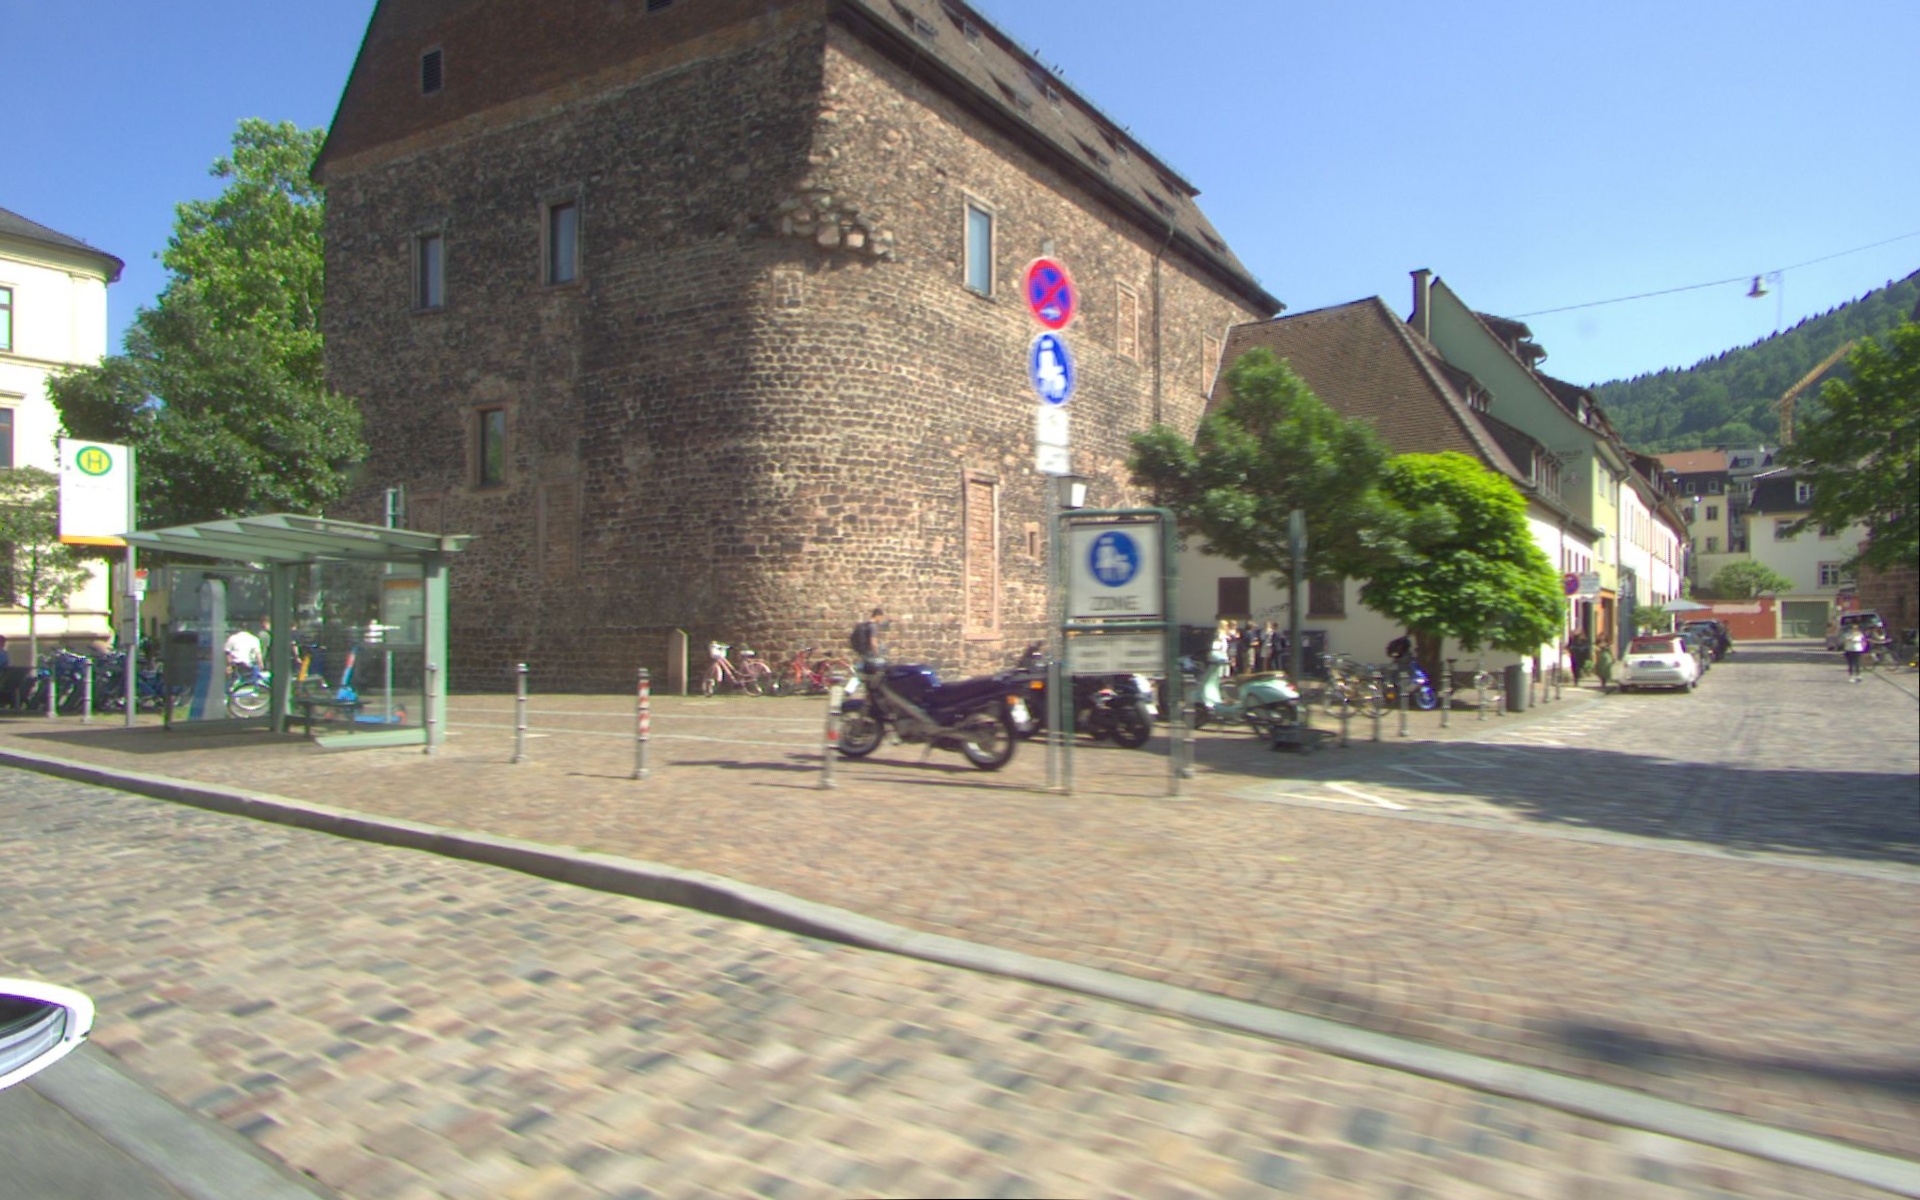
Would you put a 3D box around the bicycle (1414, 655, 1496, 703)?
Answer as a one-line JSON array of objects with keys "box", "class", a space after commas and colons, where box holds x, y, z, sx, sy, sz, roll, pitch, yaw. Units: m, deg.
[{"box": [11.670, 1.848, 23.638, 1.687, 1.027, 0.421, 1, 0, 27], "class": "bicycle"}]

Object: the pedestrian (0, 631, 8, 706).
[{"box": [-17.220, 1.188, 17.295, 0.683, 1.298, 0.959, -1, -2, 31], "class": "pedestrian"}]

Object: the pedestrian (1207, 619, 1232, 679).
[{"box": [7.392, 1.390, 28.496, 0.525, 1.688, 0.580, -1, -1, 32], "class": "pedestrian"}]

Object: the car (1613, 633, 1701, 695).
[{"box": [19.743, 1.762, 28.301, 1.778, 1.549, 4.114, -3, -2, 38], "class": "car"}]

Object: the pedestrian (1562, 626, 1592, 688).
[{"box": [17.969, 1.637, 29.158, 0.665, 1.763, 0.657, 0, -1, 37], "class": "pedestrian"}]

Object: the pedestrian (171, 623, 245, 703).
[{"box": [-17.166, 1.424, 22.890, 0.910, 1.787, 0.989, 0, -1, 13], "class": "pedestrian"}]

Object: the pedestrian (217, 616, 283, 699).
[{"box": [-15.637, 1.255, 22.075, 0.893, 1.776, 0.804, -1, -1, 19], "class": "pedestrian"}]

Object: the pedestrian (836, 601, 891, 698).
[{"box": [-1.909, 0.975, 19.831, 0.750, 1.869, 0.794, -1, -1, 32], "class": "pedestrian"}]

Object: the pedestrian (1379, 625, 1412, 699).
[{"box": [10.678, 1.505, 24.551, 0.598, 1.763, 0.657, 0, -1, 37], "class": "pedestrian"}]

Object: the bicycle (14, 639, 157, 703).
[{"box": [-17.769, 1.435, 20.413, 0.599, 1.213, 2.077, 0, -3, 31], "class": "bicycle"}]

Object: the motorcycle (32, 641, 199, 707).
[{"box": [-15.431, 1.337, 18.372, 0.765, 1.117, 2.202, 0, -3, 31], "class": "motorcycle"}]

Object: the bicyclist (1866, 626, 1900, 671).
[{"box": [32.478, 1.692, 35.244, 0.636, 1.564, 0.632, 0, 0, -15], "class": "bicyclist"}]

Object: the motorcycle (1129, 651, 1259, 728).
[{"box": [3.680, 1.384, 15.803, 1.899, 1.095, 0.629, 0, -1, 29], "class": "motorcycle"}]

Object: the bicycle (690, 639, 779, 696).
[{"box": [-4.778, 1.408, 21.220, 1.895, 1.175, 0.525, -1, -1, 24], "class": "bicycle"}]

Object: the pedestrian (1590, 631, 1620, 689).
[{"box": [18.518, 1.714, 28.753, 0.665, 1.650, 0.657, 0, -1, 37], "class": "pedestrian"}]

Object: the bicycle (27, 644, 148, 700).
[{"box": [-18.207, 1.492, 20.940, 0.599, 1.124, 1.791, 0, -2, 31], "class": "bicycle"}]

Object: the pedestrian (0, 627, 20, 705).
[{"box": [-16.736, 1.115, 16.803, 0.683, 1.324, 1.246, -1, -2, 30], "class": "pedestrian"}]

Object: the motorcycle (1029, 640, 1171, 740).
[{"box": [1.879, 1.180, 13.563, 1.782, 1.247, 0.668, 0, -2, 35], "class": "motorcycle"}]

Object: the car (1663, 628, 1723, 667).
[{"box": [29.354, 1.870, 40.071, 1.778, 1.423, 4.114, -3, -2, 38], "class": "car"}]

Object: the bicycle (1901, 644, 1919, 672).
[{"box": [33.660, 2.021, 34.996, 0.581, 0.934, 1.608, 0, -1, 22], "class": "bicycle"}]

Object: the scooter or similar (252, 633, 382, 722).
[{"box": [-9.375, 1.125, 14.645, 0.643, 1.230, 1.429, -1, -4, 32], "class": "scooter or similar"}]

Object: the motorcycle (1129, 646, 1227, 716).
[{"box": [3.906, 1.410, 17.817, 0.866, 1.161, 2.331, -1, -3, 35], "class": "motorcycle"}]

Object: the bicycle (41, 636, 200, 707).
[{"box": [-15.398, 1.292, 18.427, 0.765, 1.213, 2.078, 0, -3, 31], "class": "bicycle"}]

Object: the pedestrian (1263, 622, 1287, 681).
[{"box": [8.883, 1.442, 28.231, 0.580, 1.664, 0.420, 0, -1, 32], "class": "pedestrian"}]

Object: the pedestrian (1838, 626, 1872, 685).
[{"box": [27.199, 1.662, 30.445, 0.702, 1.763, 0.657, 0, -1, 37], "class": "pedestrian"}]

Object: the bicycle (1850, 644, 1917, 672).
[{"box": [32.487, 2.033, 35.253, 0.660, 0.934, 1.610, 0, -1, -16], "class": "bicycle"}]

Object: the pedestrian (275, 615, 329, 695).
[{"box": [-16.352, 1.358, 24.896, 0.775, 1.966, 0.805, 0, -1, 6], "class": "pedestrian"}]

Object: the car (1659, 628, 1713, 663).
[{"box": [32.588, 2.032, 44.931, 1.778, 1.423, 4.114, -3, -2, 38], "class": "car"}]

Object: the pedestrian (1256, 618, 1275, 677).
[{"box": [8.831, 1.374, 28.965, 0.445, 1.688, 0.358, -1, -1, 32], "class": "pedestrian"}]

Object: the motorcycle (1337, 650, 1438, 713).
[{"box": [8.938, 1.679, 20.942, 1.887, 1.175, 0.597, 1, 0, 27], "class": "motorcycle"}]

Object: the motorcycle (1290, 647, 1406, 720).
[{"box": [7.076, 1.497, 18.379, 0.591, 1.252, 2.035, 1, -2, -32], "class": "motorcycle"}]

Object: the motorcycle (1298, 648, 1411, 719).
[{"box": [7.436, 1.539, 18.976, 0.591, 1.252, 2.036, 1, -2, -31], "class": "motorcycle"}]

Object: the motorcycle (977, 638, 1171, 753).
[{"box": [1.318, 1.078, 11.789, 2.183, 1.252, 0.657, -1, -2, 29], "class": "motorcycle"}]

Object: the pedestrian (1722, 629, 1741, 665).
[{"box": [38.093, 2.323, 49.422, 0.655, 1.763, 0.705, 0, -1, 44], "class": "pedestrian"}]

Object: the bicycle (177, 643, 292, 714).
[{"box": [-13.138, 1.395, 18.164, 0.716, 1.213, 1.542, -1, -2, 38], "class": "bicycle"}]

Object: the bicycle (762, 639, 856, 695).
[{"box": [-3.167, 1.400, 21.097, 1.889, 1.167, 0.548, 0, -1, 2], "class": "bicycle"}]

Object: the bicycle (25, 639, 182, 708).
[{"box": [-16.054, 1.360, 18.836, 0.765, 1.213, 2.078, 0, -3, 31], "class": "bicycle"}]

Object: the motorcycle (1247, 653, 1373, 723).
[{"box": [6.189, 1.537, 17.765, 1.993, 1.158, 0.739, -2, -4, 36], "class": "motorcycle"}]

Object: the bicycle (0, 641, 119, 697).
[{"box": [-19.219, 1.467, 21.417, 0.555, 1.124, 1.791, 0, -2, 31], "class": "bicycle"}]

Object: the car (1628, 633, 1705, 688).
[{"box": [22.480, 1.885, 31.806, 1.778, 1.549, 4.114, -3, -2, 38], "class": "car"}]

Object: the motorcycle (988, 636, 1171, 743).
[{"box": [1.489, 1.093, 12.733, 2.241, 1.252, 0.737, -2, -2, 35], "class": "motorcycle"}]

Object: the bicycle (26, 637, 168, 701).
[{"box": [-17.265, 1.371, 20.100, 0.519, 1.213, 2.078, 0, -2, 31], "class": "bicycle"}]

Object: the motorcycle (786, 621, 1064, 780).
[{"box": [-0.357, 0.878, 9.406, 2.489, 1.309, 0.883, 0, -2, 29], "class": "motorcycle"}]

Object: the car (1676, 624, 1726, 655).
[{"box": [37.945, 2.003, 51.231, 1.779, 1.423, 4.111, -3, -2, 40], "class": "car"}]

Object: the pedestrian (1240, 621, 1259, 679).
[{"box": [8.441, 1.462, 29.236, 0.445, 1.688, 0.358, -1, -1, 32], "class": "pedestrian"}]

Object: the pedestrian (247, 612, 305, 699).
[{"box": [-15.852, 1.281, 23.209, 0.923, 1.985, 0.655, 0, -1, 15], "class": "pedestrian"}]

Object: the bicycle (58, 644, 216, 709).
[{"box": [-14.730, 1.347, 17.977, 0.789, 1.079, 2.022, 0, -3, 31], "class": "bicycle"}]

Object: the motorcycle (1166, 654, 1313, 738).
[{"box": [4.002, 1.338, 14.362, 1.876, 1.108, 0.874, -1, -2, 29], "class": "motorcycle"}]

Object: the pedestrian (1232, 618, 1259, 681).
[{"box": [7.770, 1.351, 27.274, 0.574, 1.688, 0.530, -1, -1, 32], "class": "pedestrian"}]

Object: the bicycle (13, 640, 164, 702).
[{"box": [-16.659, 1.347, 19.207, 0.595, 1.099, 2.078, 0, -3, 31], "class": "bicycle"}]

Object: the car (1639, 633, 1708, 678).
[{"box": [25.662, 1.965, 35.964, 1.778, 1.423, 4.114, -3, -2, 38], "class": "car"}]

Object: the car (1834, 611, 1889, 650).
[{"box": [46.880, 1.631, 52.143, 1.778, 1.899, 4.243, -3, -5, 38], "class": "car"}]

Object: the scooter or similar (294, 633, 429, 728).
[{"box": [-8.205, 1.098, 13.774, 0.643, 1.230, 1.429, -1, -4, 32], "class": "scooter or similar"}]

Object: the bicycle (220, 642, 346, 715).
[{"box": [-10.964, 1.265, 16.237, 1.704, 1.146, 0.548, 0, -1, 3], "class": "bicycle"}]
